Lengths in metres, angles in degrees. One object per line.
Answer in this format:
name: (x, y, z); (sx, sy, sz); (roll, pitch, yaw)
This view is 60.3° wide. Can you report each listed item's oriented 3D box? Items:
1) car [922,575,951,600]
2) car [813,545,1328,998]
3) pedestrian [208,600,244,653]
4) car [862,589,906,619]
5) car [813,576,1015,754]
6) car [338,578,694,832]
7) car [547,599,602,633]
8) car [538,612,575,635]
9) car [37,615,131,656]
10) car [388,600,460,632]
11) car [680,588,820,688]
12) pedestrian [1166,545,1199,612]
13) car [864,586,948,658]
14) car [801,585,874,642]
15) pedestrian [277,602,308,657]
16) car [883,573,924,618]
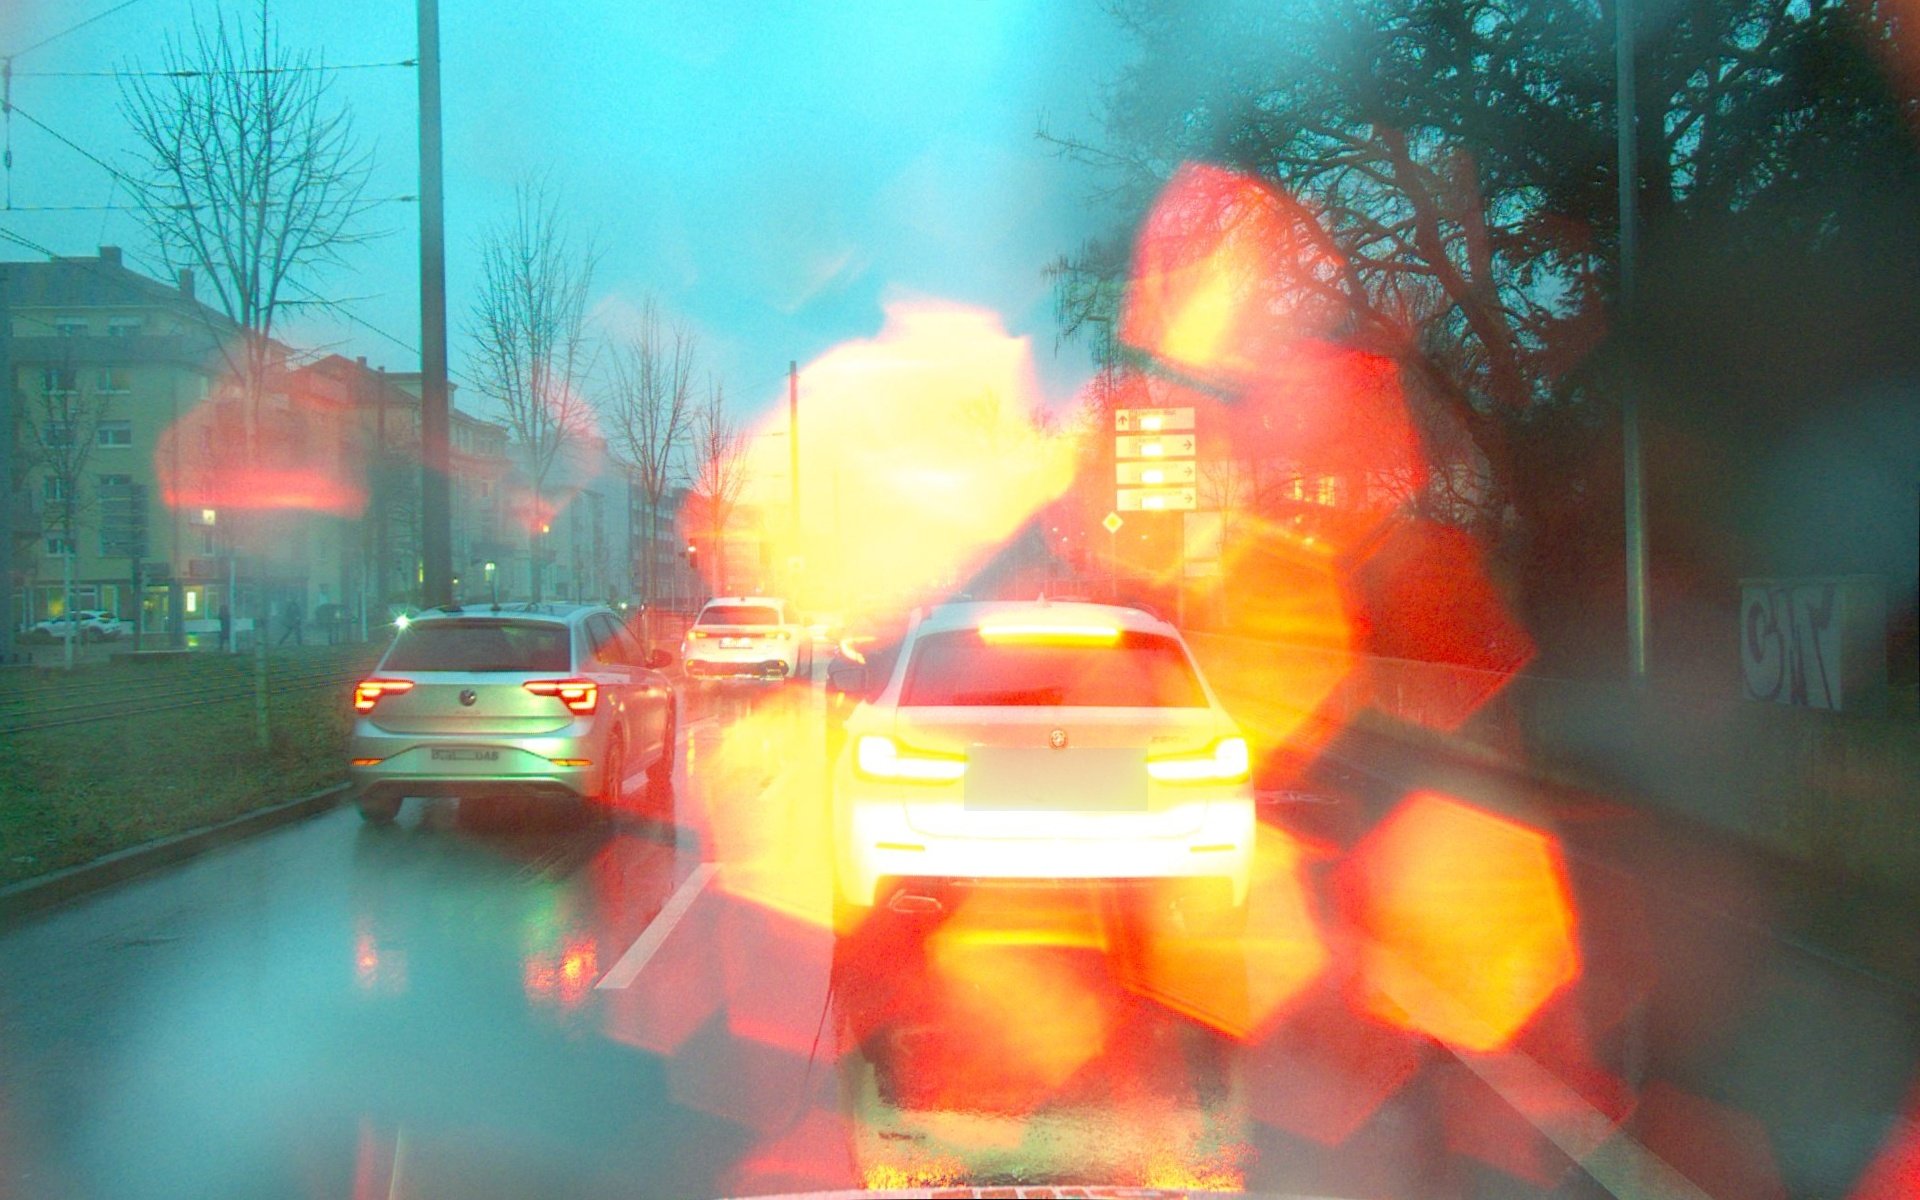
car: (-1.449, -0.776, 101.977); (1.702, 1.444, 4.145); (-1, 0, -1)
car: (0.365, 0.598, 8.403); (1.825, 1.583, 4.937); (-1, 0, -1)
pedestrian: (-28.827, 1.034, 64.952); (1.253, 2.049, 1.000); (-1, 0, -25)
car: (-3.527, 0.196, 77.412); (1.891, 1.311, 3.999); (1, 0, -1)
car: (-0.436, 0.573, 16.542); (1.763, 1.537, 3.894); (-1, 0, -1)
car: (-3.047, 0.639, 12.182); (1.659, 1.560, 3.998); (0, 0, -2)
car: (-19.625, 0.807, 84.270); (1.953, 1.630, 3.998); (1, 0, -2)
car: (-24.044, 1.404, 98.574); (1.659, 1.300, 4.142); (-1, 0, -7)
car: (-43.749, 1.774, 82.643); (3.679, 1.976, 1.838); (1, 0, -9)
car: (-23.557, 0.688, 72.889); (1.821, 1.355, 4.314); (1, 0, -1)
car: (-3.382, 0.562, 27.367); (1.762, 1.492, 4.585); (-1, 0, -1)
pedestrian: (6.945, -0.658, 51.621); (0.938, 2.049, 1.008); (-1, 0, 4)
car: (-1.142, 0.444, 35.896); (1.702, 1.444, 3.702); (-1, 0, -1)
car: (-3.312, 0.330, 45.239); (1.702, 1.444, 4.393); (-1, 0, -1)
pedestrian: (-25.222, 1.094, 62.518); (0.943, 2.049, 1.003); (-1, 0, -17)
car: (-2.206, -0.163, 64.127); (1.476, 1.681, 2.842); (1, 0, -4)
